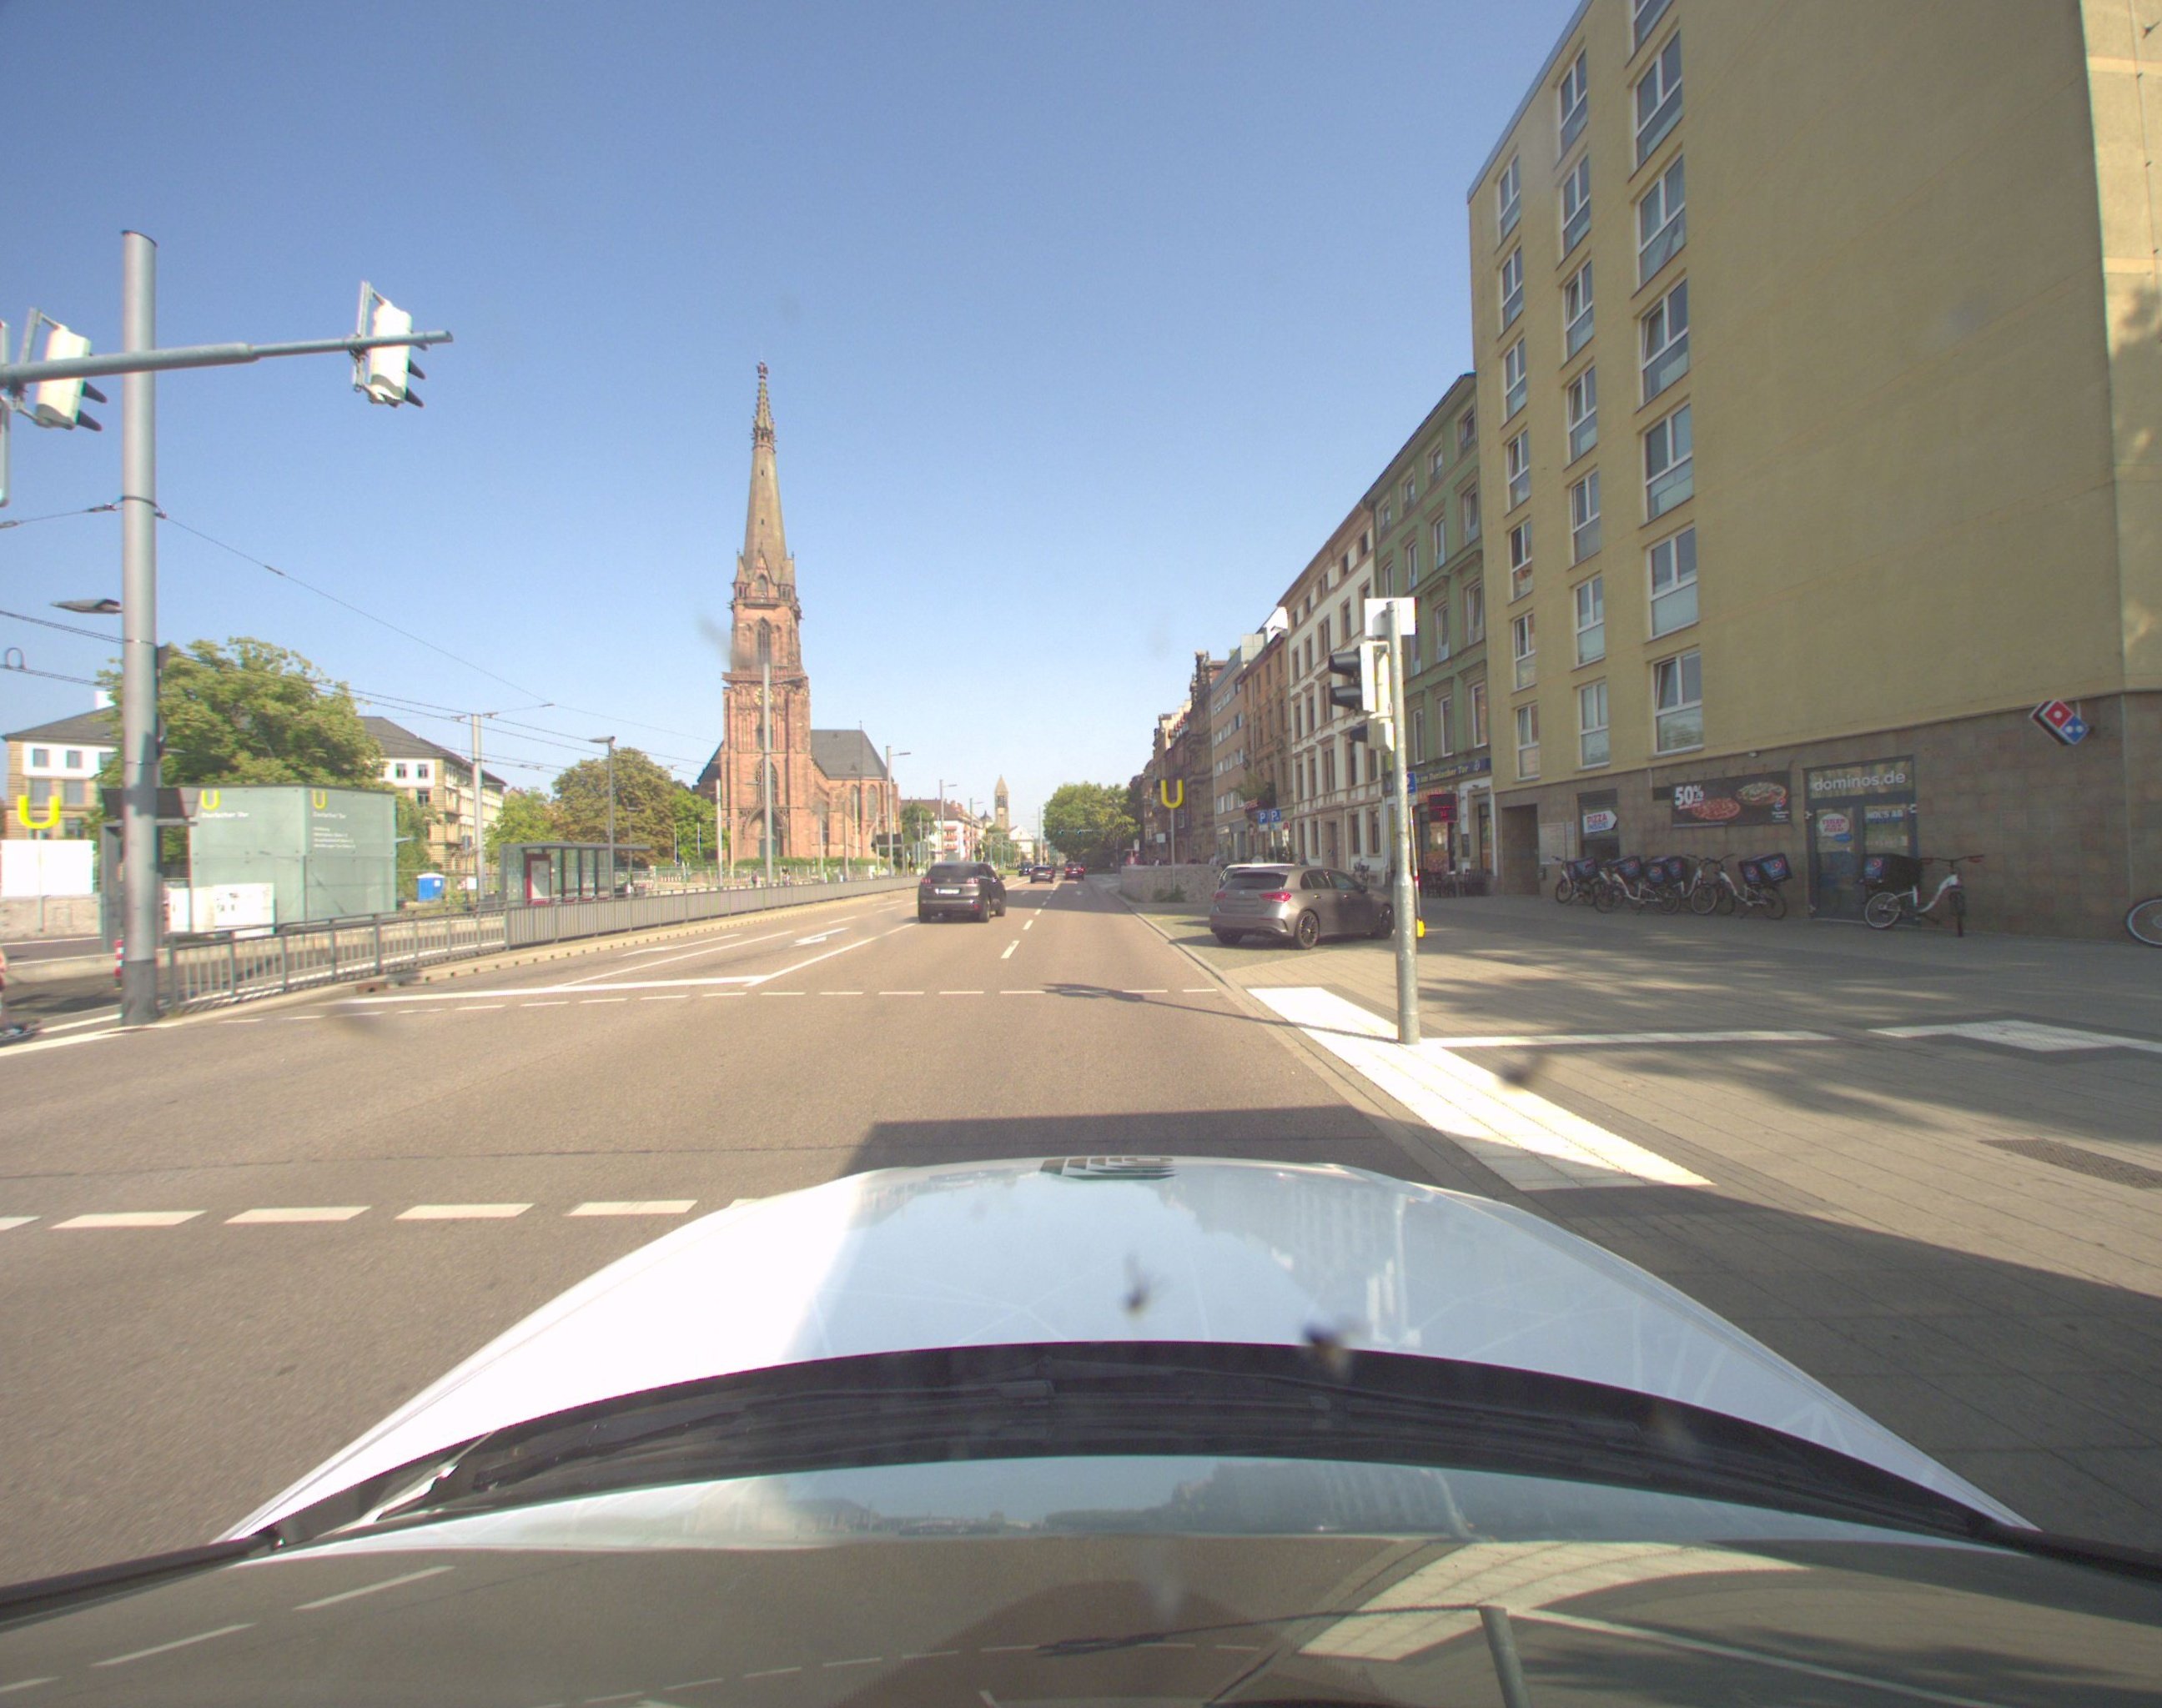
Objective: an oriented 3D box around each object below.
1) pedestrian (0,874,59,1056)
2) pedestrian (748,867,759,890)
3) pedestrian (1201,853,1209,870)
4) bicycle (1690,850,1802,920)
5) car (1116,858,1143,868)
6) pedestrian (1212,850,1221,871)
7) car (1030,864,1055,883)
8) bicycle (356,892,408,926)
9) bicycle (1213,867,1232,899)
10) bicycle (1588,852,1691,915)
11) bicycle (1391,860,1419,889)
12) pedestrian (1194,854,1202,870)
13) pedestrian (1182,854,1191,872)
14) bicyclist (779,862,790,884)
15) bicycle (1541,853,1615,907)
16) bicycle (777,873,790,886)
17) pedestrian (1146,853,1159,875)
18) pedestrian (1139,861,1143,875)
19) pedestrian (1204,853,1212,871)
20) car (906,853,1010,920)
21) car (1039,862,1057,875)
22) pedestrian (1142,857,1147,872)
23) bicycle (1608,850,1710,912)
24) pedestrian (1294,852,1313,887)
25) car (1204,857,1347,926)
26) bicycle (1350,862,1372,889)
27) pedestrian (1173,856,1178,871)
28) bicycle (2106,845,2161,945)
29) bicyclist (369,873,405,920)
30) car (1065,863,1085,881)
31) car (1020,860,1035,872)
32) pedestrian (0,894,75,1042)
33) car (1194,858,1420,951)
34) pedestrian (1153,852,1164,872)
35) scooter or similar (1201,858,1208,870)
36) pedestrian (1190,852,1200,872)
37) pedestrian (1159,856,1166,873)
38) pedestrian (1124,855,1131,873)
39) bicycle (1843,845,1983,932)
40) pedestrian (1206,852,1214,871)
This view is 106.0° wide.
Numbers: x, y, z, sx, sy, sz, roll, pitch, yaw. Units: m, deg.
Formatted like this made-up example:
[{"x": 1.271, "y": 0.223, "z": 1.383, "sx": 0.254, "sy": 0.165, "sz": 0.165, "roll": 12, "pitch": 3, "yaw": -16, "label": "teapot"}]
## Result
[{"x": -10.573, "y": 1.073, "z": 7.735, "sx": 0.811, "sy": 1.692, "sz": 0.651, "roll": -4, "pitch": -1, "yaw": -1, "label": "pedestrian"}, {"x": -24.697, "y": 1.859, "z": 61.381, "sx": 0.516, "sy": 1.700, "sz": 0.664, "roll": -2, "pitch": -1, "yaw": -2, "label": "pedestrian"}, {"x": 12.056, "y": 0.739, "z": 79.330, "sx": 0.602, "sy": 1.692, "sz": 0.586, "roll": -2, "pitch": -1, "yaw": -4, "label": "pedestrian"}, {"x": 12.839, "y": 0.573, "z": 15.800, "sx": 0.601, "sy": 1.261, "sz": 1.848, "roll": -2, "pitch": 0, "yaw": -1, "label": "bicycle"}, {"x": 8.074, "y": 1.432, "z": 135.035, "sx": 4.174, "sy": 1.563, "sz": 1.996, "roll": -2, "pitch": -1, "yaw": -5, "label": "car"}, {"x": 11.924, "y": 0.565, "z": 71.530, "sx": 0.602, "sy": 1.831, "sz": 0.741, "roll": -2, "pitch": -1, "yaw": -4, "label": "pedestrian"}, {"x": -3.083, "y": 1.557, "z": 66.295, "sx": 1.858, "sy": 1.424, "sz": 4.356, "roll": 0, "pitch": 0, "yaw": 0, "label": "car"}, {"x": -25.179, "y": 1.949, "z": 29.366, "sx": 0.400, "sy": 1.109, "sz": 1.745, "roll": -2, "pitch": -1, "yaw": -2, "label": "bicycle"}, {"x": 5.319, "y": 1.089, "z": 30.701, "sx": 0.382, "sy": 1.134, "sz": 1.790, "roll": -2, "pitch": -1, "yaw": 0, "label": "bicycle"}, {"x": 12.044, "y": 0.607, "z": 17.646, "sx": 0.602, "sy": 1.261, "sz": 1.991, "roll": -2, "pitch": 0, "yaw": -9, "label": "bicycle"}, {"x": 12.860, "y": 0.800, "z": 32.322, "sx": 0.382, "sy": 1.134, "sz": 1.719, "roll": -2, "pitch": -1, "yaw": 0, "label": "bicycle"}, {"x": 11.721, "y": 0.792, "z": 81.391, "sx": 0.602, "sy": 1.654, "sz": 0.586, "roll": -2, "pitch": -1, "yaw": -4, "label": "pedestrian"}, {"x": 9.677, "y": 0.837, "z": 74.602, "sx": 0.717, "sy": 1.610, "sz": 0.856, "roll": -2, "pitch": -1, "yaw": 0, "label": "pedestrian"}, {"x": -23.289, "y": 1.488, "z": 64.011, "sx": 0.485, "sy": 1.747, "sz": 0.819, "roll": -2, "pitch": -1, "yaw": 0, "label": "bicyclist"}, {"x": 12.524, "y": 0.633, "z": 20.605, "sx": 0.600, "sy": 1.261, "sz": 1.996, "roll": -2, "pitch": 0, "yaw": -1, "label": "bicycle"}, {"x": -23.354, "y": 2.008, "z": 63.897, "sx": 0.349, "sy": 0.954, "sz": 1.695, "roll": -2, "pitch": -1, "yaw": 0, "label": "bicycle"}, {"x": 6.173, "y": 0.856, "z": 70.503, "sx": 0.923, "sy": 1.831, "sz": 0.800, "roll": -2, "pitch": -1, "yaw": -4, "label": "pedestrian"}, {"x": 5.650, "y": 1.345, "z": 77.198, "sx": 0.275, "sy": 1.274, "sz": 0.447, "roll": -2, "pitch": -1, "yaw": -8, "label": "pedestrian"}, {"x": 12.205, "y": 0.766, "z": 78.395, "sx": 0.602, "sy": 1.692, "sz": 0.586, "roll": -2, "pitch": -1, "yaw": -4, "label": "pedestrian"}, {"x": -3.284, "y": 0.834, "z": 22.646, "sx": 1.986, "sy": 1.621, "sz": 4.359, "roll": -2, "pitch": 0, "yaw": 2, "label": "car"}, {"x": -3.624, "y": 1.625, "z": 91.214, "sx": 1.858, "sy": 1.424, "sz": 4.356, "roll": 0, "pitch": 0, "yaw": 0, "label": "car"}, {"x": 7.334, "y": 1.170, "z": 94.168, "sx": 0.480, "sy": 1.702, "sz": 0.702, "roll": -2, "pitch": -1, "yaw": -4, "label": "pedestrian"}, {"x": 12.705, "y": 0.572, "z": 17.993, "sx": 0.602, "sy": 1.261, "sz": 1.991, "roll": -2, "pitch": 0, "yaw": -9, "label": "bicycle"}, {"x": 10.333, "y": 0.719, "z": 37.846, "sx": 0.607, "sy": 1.629, "sz": 0.737, "roll": -2, "pitch": -1, "yaw": 0, "label": "pedestrian"}, {"x": 4.722, "y": 0.833, "z": 19.541, "sx": 3.548, "sy": 1.464, "sz": 1.603, "roll": -1, "pitch": -1, "yaw": -43, "label": "car"}, {"x": 12.614, "y": 0.955, "z": 36.738, "sx": 0.382, "sy": 1.134, "sz": 1.719, "roll": -2, "pitch": -1, "yaw": 0, "label": "bicycle"}, {"x": 10.426, "y": 1.028, "z": 89.962, "sx": 0.484, "sy": 1.610, "sz": 0.812, "roll": -2, "pitch": -1, "yaw": 0, "label": "pedestrian"}, {"x": 14.220, "y": 0.473, "z": 10.160, "sx": 2.011, "sy": 1.206, "sz": 0.670, "roll": -2, "pitch": 0, "yaw": -1, "label": "bicycle"}, {"x": -25.160, "y": 1.536, "z": 29.540, "sx": 0.585, "sy": 1.657, "sz": 0.790, "roll": -2, "pitch": -1, "yaw": 0, "label": "bicyclist"}, {"x": -0.577, "y": 1.717, "z": 79.525, "sx": 1.826, "sy": 1.621, "sz": 4.356, "roll": 0, "pitch": 0, "yaw": 0, "label": "car"}, {"x": -6.975, "y": 1.585, "z": 106.223, "sx": 1.736, "sy": 1.527, "sz": 3.870, "roll": -2, "pitch": 0, "yaw": -2, "label": "car"}, {"x": -11.849, "y": 1.251, "z": 8.956, "sx": 0.805, "sy": 1.548, "sz": 0.548, "roll": -4, "pitch": -1, "yaw": 0, "label": "pedestrian"}, {"x": 4.304, "y": 0.839, "z": 15.152, "sx": 4.432, "sy": 1.423, "sz": 1.826, "roll": -1, "pitch": -1, "yaw": -40, "label": "car"}, {"x": 7.053, "y": 0.739, "z": 74.103, "sx": 0.748, "sy": 1.729, "sz": 0.800, "roll": -2, "pitch": -1, "yaw": -4, "label": "pedestrian"}, {"x": 11.567, "y": 0.930, "z": 76.375, "sx": 0.359, "sy": 1.163, "sz": 1.151, "roll": -2, "pitch": 0, "yaw": -3, "label": "scooter or similar"}, {"x": 10.462, "y": 0.725, "z": 74.586, "sx": 0.717, "sy": 1.787, "sz": 0.856, "roll": -2, "pitch": -1, "yaw": 0, "label": "pedestrian"}, {"x": 9.001, "y": 1.180, "z": 89.906, "sx": 0.615, "sy": 1.804, "sz": 1.071, "roll": -2, "pitch": -1, "yaw": 0, "label": "pedestrian"}, {"x": 4.554, "y": 0.982, "z": 80.150, "sx": 0.564, "sy": 1.729, "sz": 0.744, "roll": -2, "pitch": -1, "yaw": -4, "label": "pedestrian"}, {"x": 13.086, "y": 0.515, "z": 12.877, "sx": 0.467, "sy": 1.261, "sz": 1.636, "roll": -2, "pitch": 0, "yaw": -1, "label": "bicycle"}, {"x": 12.292, "y": 0.702, "z": 77.572, "sx": 0.602, "sy": 1.731, "sz": 0.510, "roll": -2, "pitch": -1, "yaw": -4, "label": "pedestrian"}]
